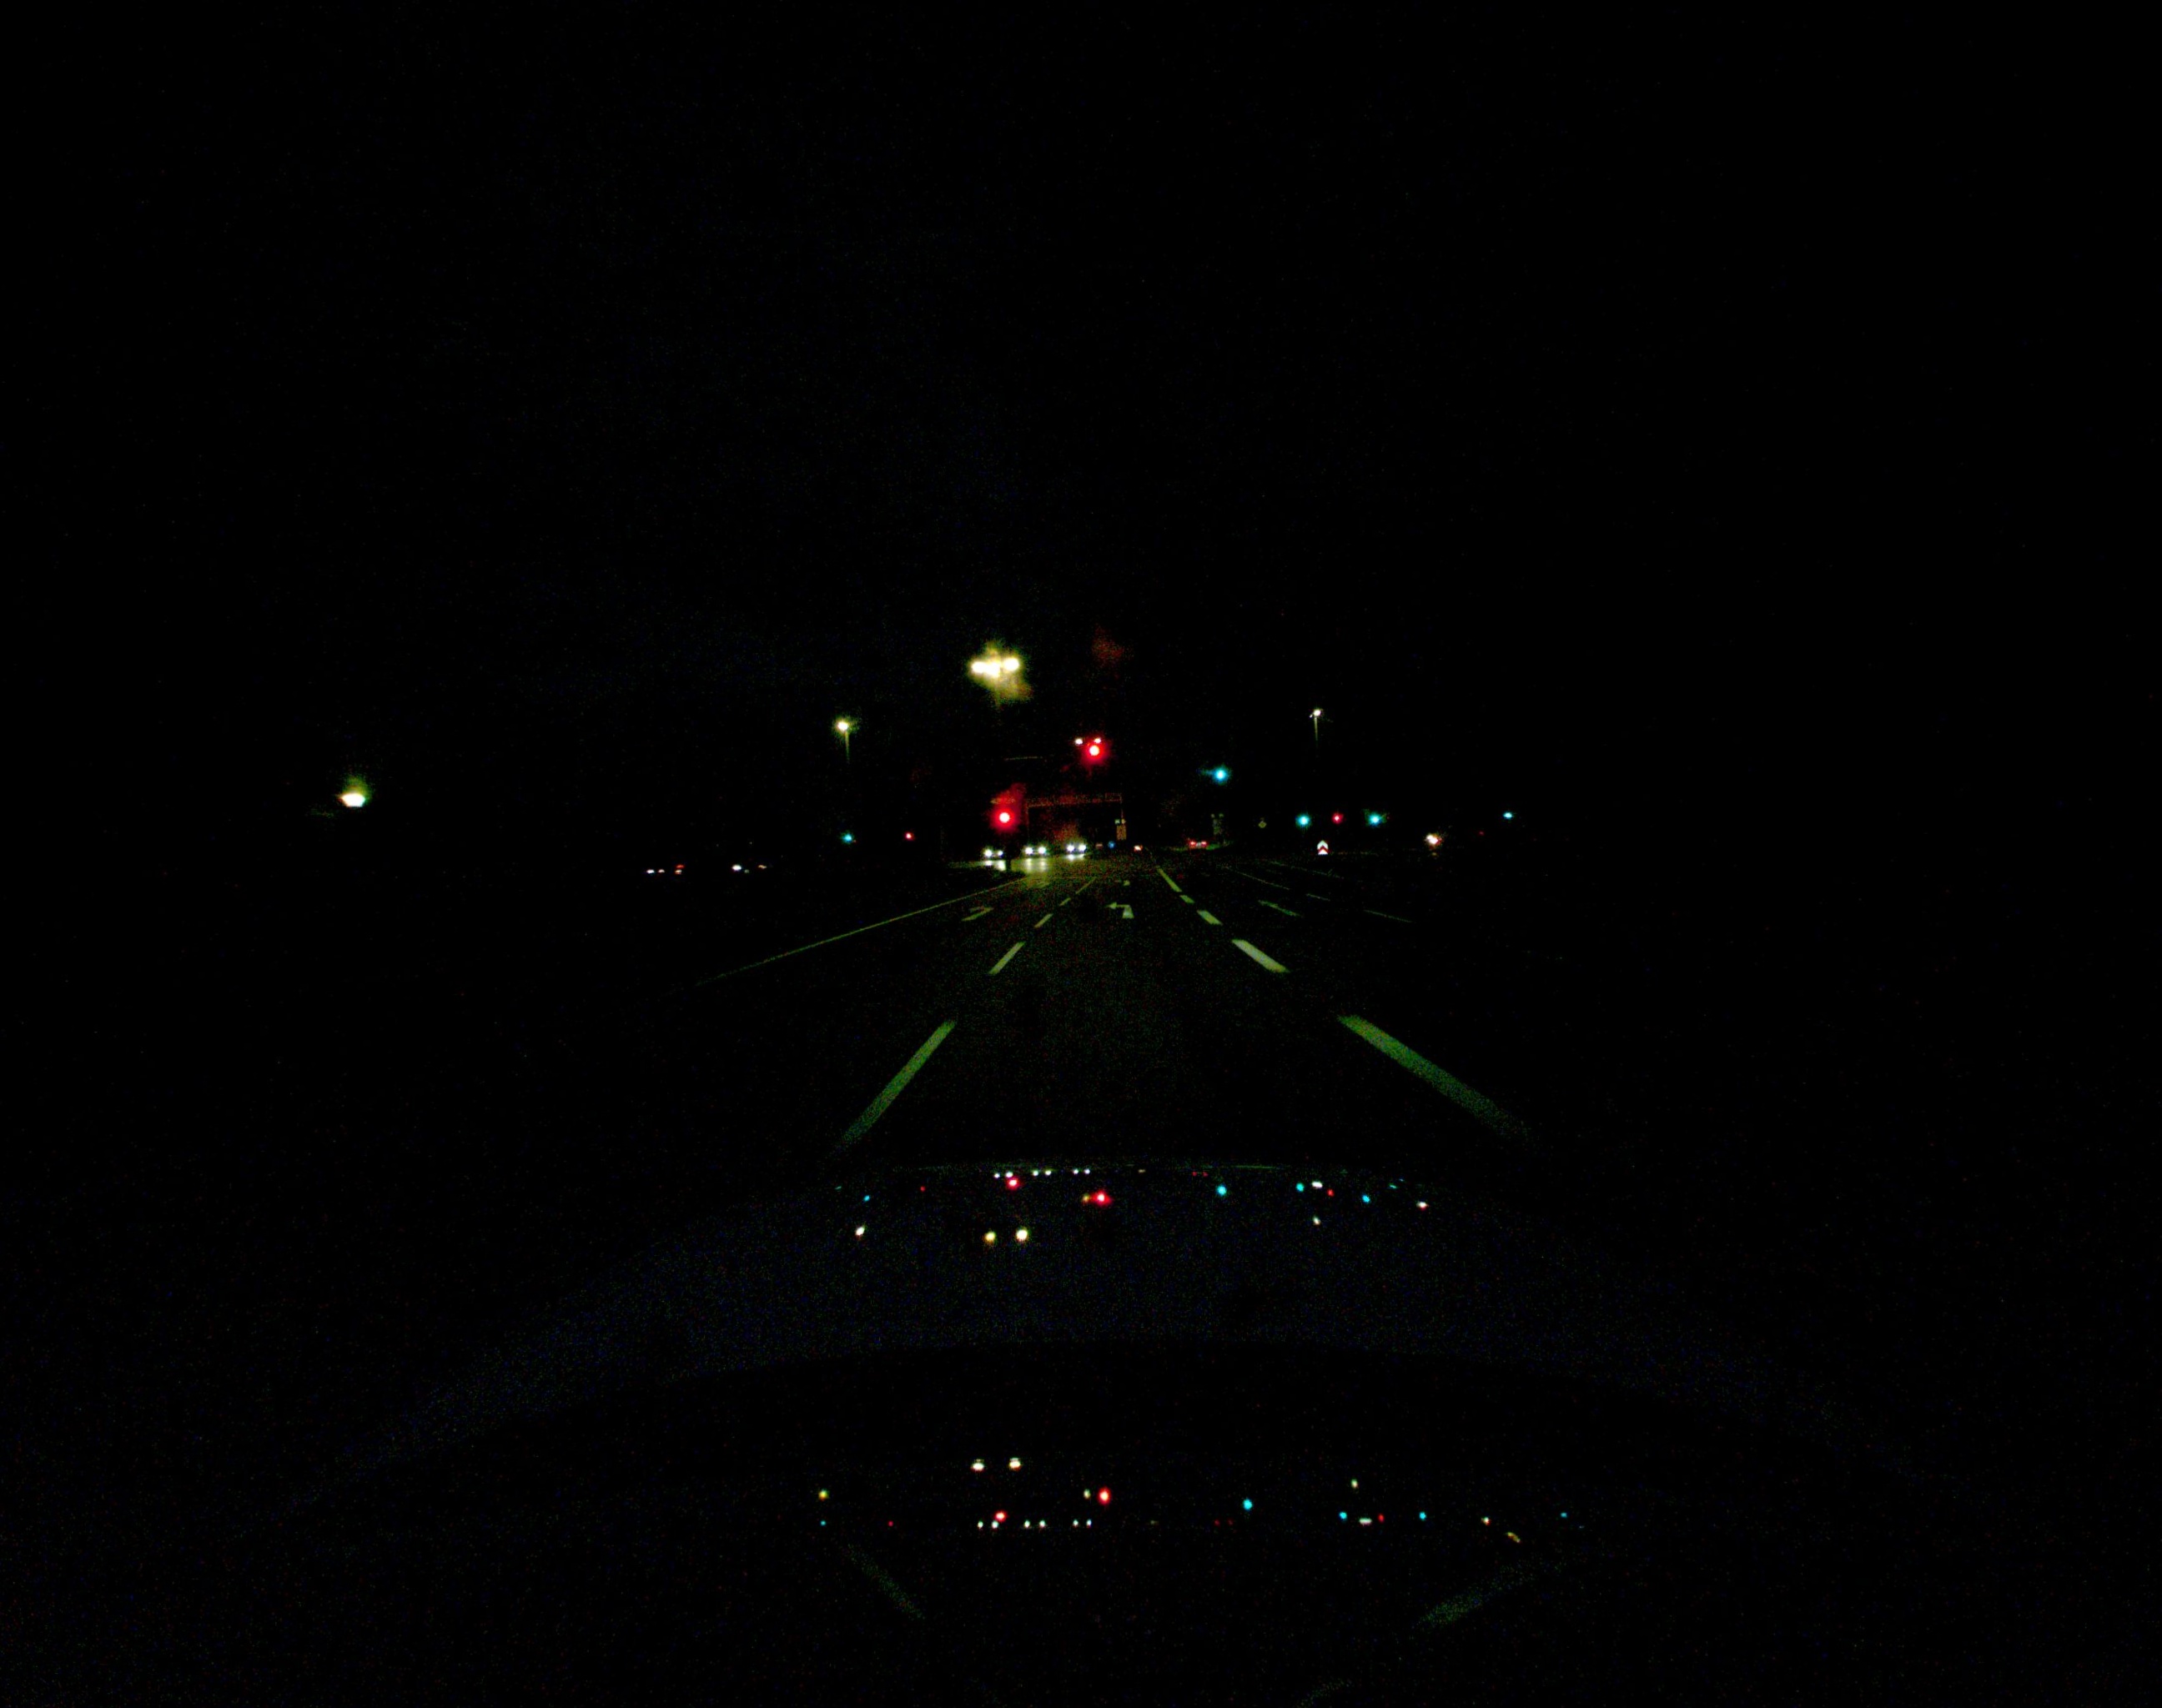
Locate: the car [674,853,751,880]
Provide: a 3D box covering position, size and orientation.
[{"bbox_3d":[-24.705,0.845,54.645,4.296,1.537,1.731,-3,0,2],"label":"car"}]

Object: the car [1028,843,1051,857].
[{"bbox_3d":[-4.599,-0.477,90.168,1.985,1.481,4.686,-2,1,3],"label":"car"}]

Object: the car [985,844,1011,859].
[{"bbox_3d":[-8.725,-0.314,85.633,1.985,1.425,4.536,-2,1,3],"label":"car"}]

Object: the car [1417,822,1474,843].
[{"bbox_3d":[31.086,-1.820,69.509,3.973,1.569,1.901,-3,1,0],"label":"car"}]

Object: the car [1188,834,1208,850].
[{"bbox_3d":[12.768,-1.273,88.834,1.997,1.611,3.852,-2,0,6],"label":"car"}]

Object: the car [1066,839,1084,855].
[{"bbox_3d":[-0.711,-0.869,99.183,1.985,1.698,4.004,-2,1,3],"label":"car"}]

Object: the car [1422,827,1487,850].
[{"bbox_3d":[28.503,-1.222,62.300,4.059,1.569,2.003,-2,1,0],"label":"car"}]

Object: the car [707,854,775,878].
[{"bbox_3d":[-24.294,0.844,58.254,4.026,1.537,1.730,-3,0,0],"label":"car"}]
